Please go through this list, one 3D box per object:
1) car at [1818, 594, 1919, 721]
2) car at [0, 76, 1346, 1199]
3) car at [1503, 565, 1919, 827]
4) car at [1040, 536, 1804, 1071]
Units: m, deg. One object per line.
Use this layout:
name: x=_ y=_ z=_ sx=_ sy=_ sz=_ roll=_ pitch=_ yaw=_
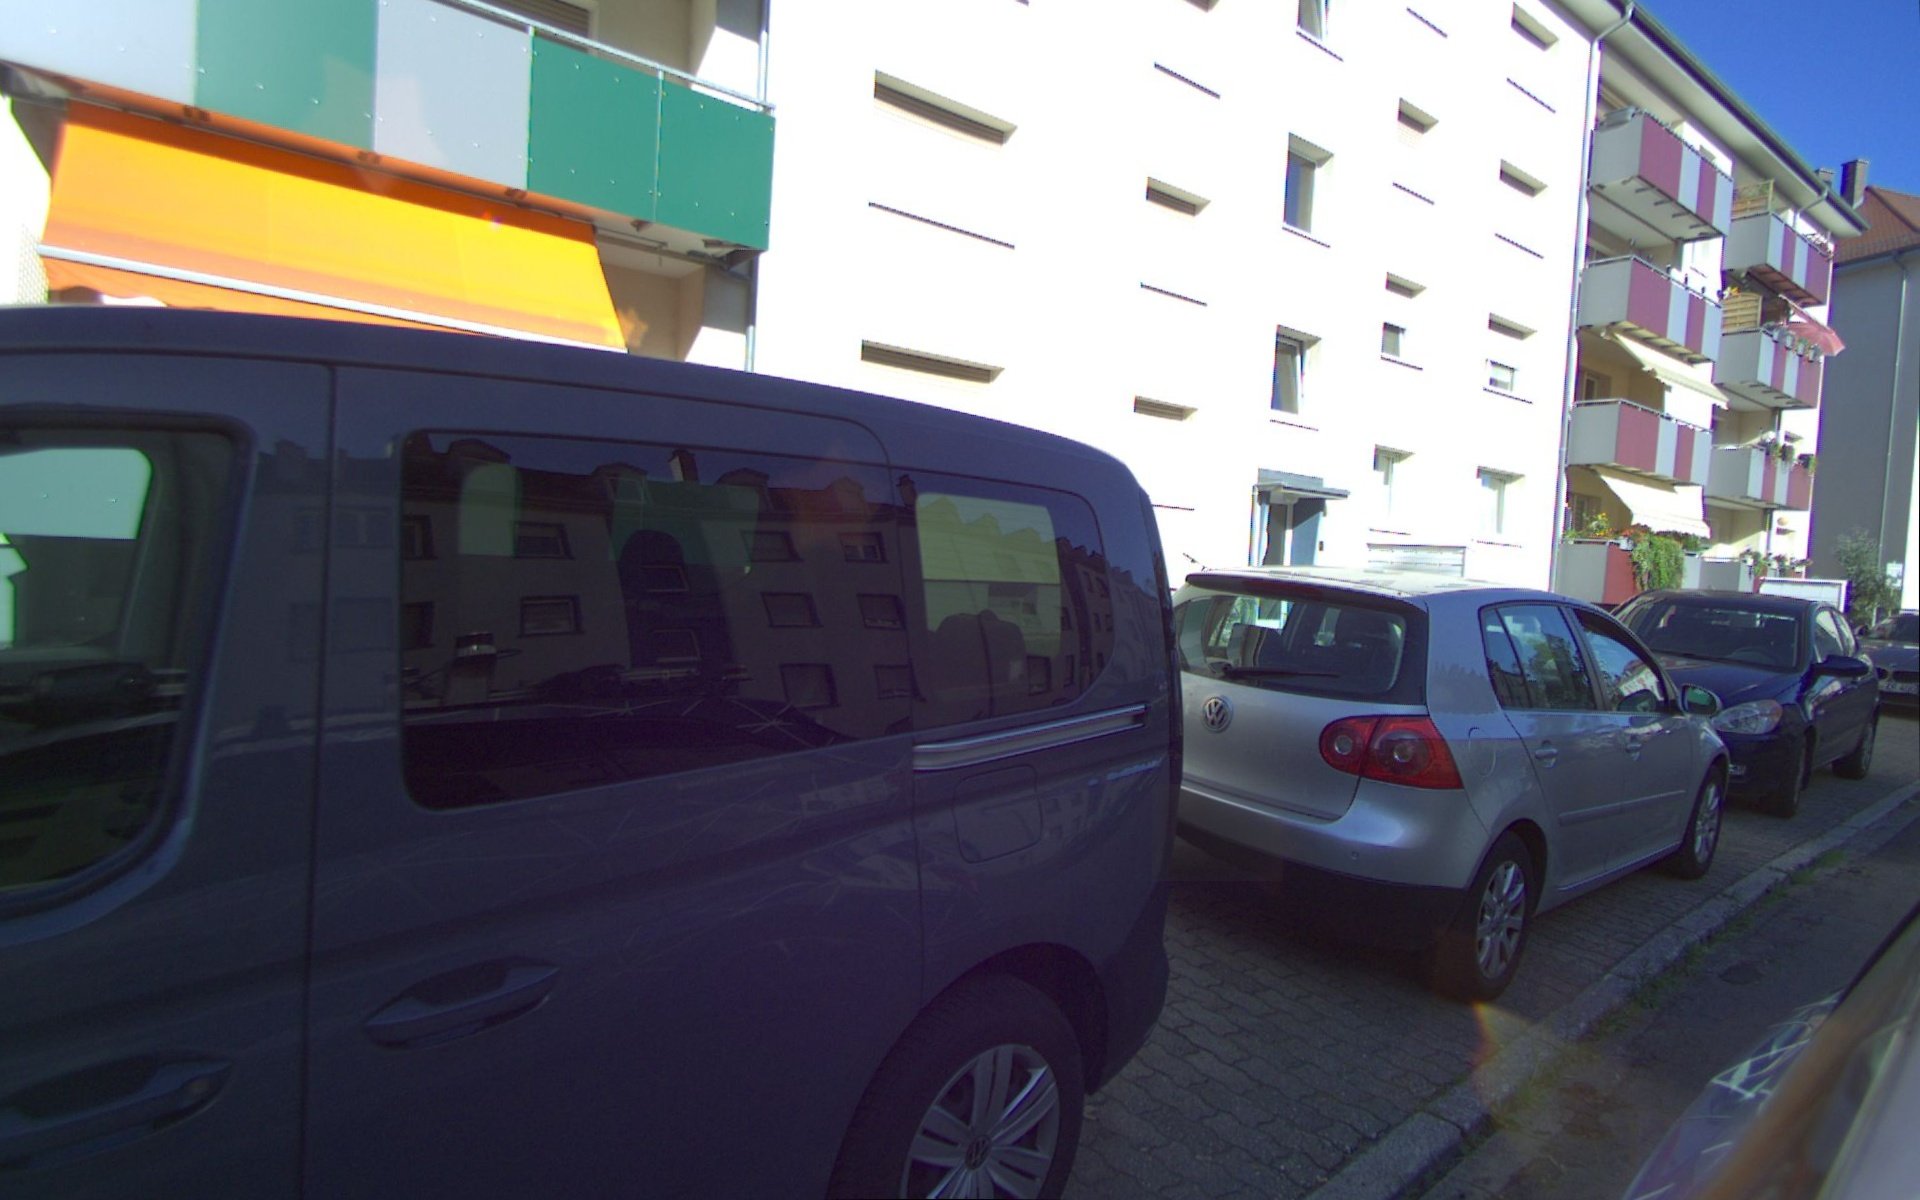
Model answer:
car: x=13.144 y=0.763 z=13.371 sx=3.785 sy=1.435 sz=1.681 roll=1 pitch=5 yaw=-34
car: x=-1.513 y=0.367 z=1.575 sx=4.834 sy=1.861 sz=1.764 roll=0 pitch=6 yaw=-41
car: x=6.069 y=0.584 z=8.003 sx=3.790 sy=1.465 sz=1.669 roll=1 pitch=6 yaw=-39
car: x=2.372 y=0.584 z=4.781 sx=3.790 sy=1.476 sz=1.645 roll=1 pitch=6 yaw=-39
